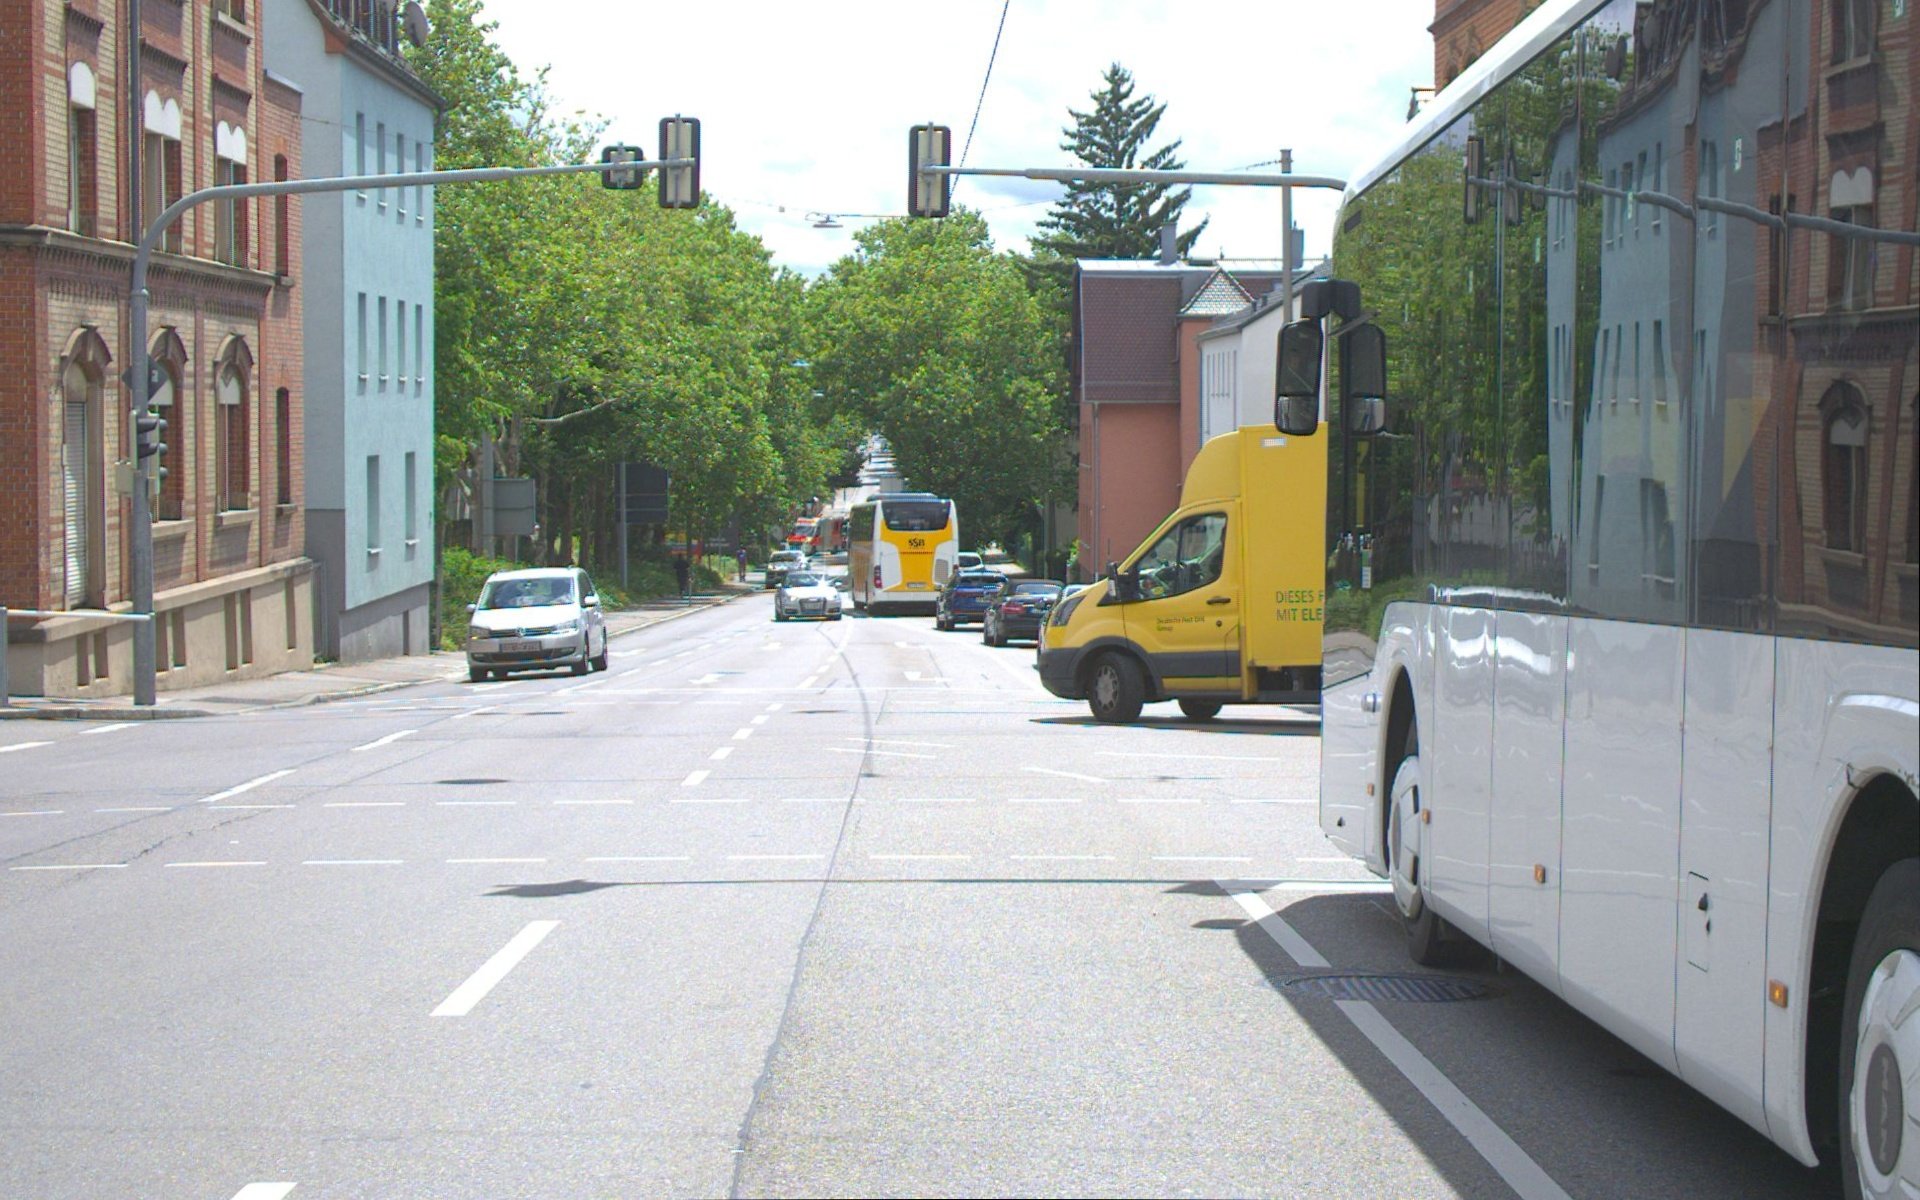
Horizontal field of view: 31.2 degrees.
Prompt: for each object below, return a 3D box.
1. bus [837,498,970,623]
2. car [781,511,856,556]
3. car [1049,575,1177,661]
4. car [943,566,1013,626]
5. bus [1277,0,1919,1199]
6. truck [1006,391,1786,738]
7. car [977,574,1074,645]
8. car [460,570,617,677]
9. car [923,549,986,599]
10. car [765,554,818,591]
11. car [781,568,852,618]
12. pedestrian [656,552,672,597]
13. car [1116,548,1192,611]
[{"bbox_3d":[-1.859,-1.241,106.451,3.300,3.618,11.246,-1,1,-5],"label":"bus"},{"bbox_3d":[-9.938,-4.667,241.645,2.146,3.059,5.614,1,1,38],"label":"car"},{"bbox_3d":[2.403,0.260,54.866,1.797,1.271,4.000,-1,1,-1],"label":"car"},{"bbox_3d":[0.405,-0.108,82.585,1.608,1.371,4.000,0,1,-1],"label":"car"},{"bbox_3d":[2.979,-0.213,9.260,2.904,3.498,12.488,1,1,-1],"label":"bus"},{"bbox_3d":[3.934,-0.352,31.428,6.561,2.903,2.545,1,1,28],"label":"truck"},{"bbox_3d":[1.339,0.178,71.532,1.865,1.363,4.547,-1,1,-1],"label":"car"},{"bbox_3d":[-6.503,0.328,53.462,1.935,1.558,4.389,-1,1,-1],"label":"car"},{"bbox_3d":[-0.234,-0.995,129.089,2.091,1.824,4.143,0,1,-4],"label":"car"},{"bbox_3d":[-7.587,-1.242,154.947,2.207,1.607,4.547,-1,1,-1],"label":"car"},{"bbox_3d":[-4.056,-0.221,97.920,1.865,1.363,4.547,-1,1,-1],"label":"car"},{"bbox_3d":[-11.755,-1.010,136.555,0.606,1.752,0.654,-1,1,-2],"label":"pedestrian"},{"bbox_3d":[5.237,-0.571,93.180,1.767,1.660,4.000,-1,1,-1],"label":"car"}]
